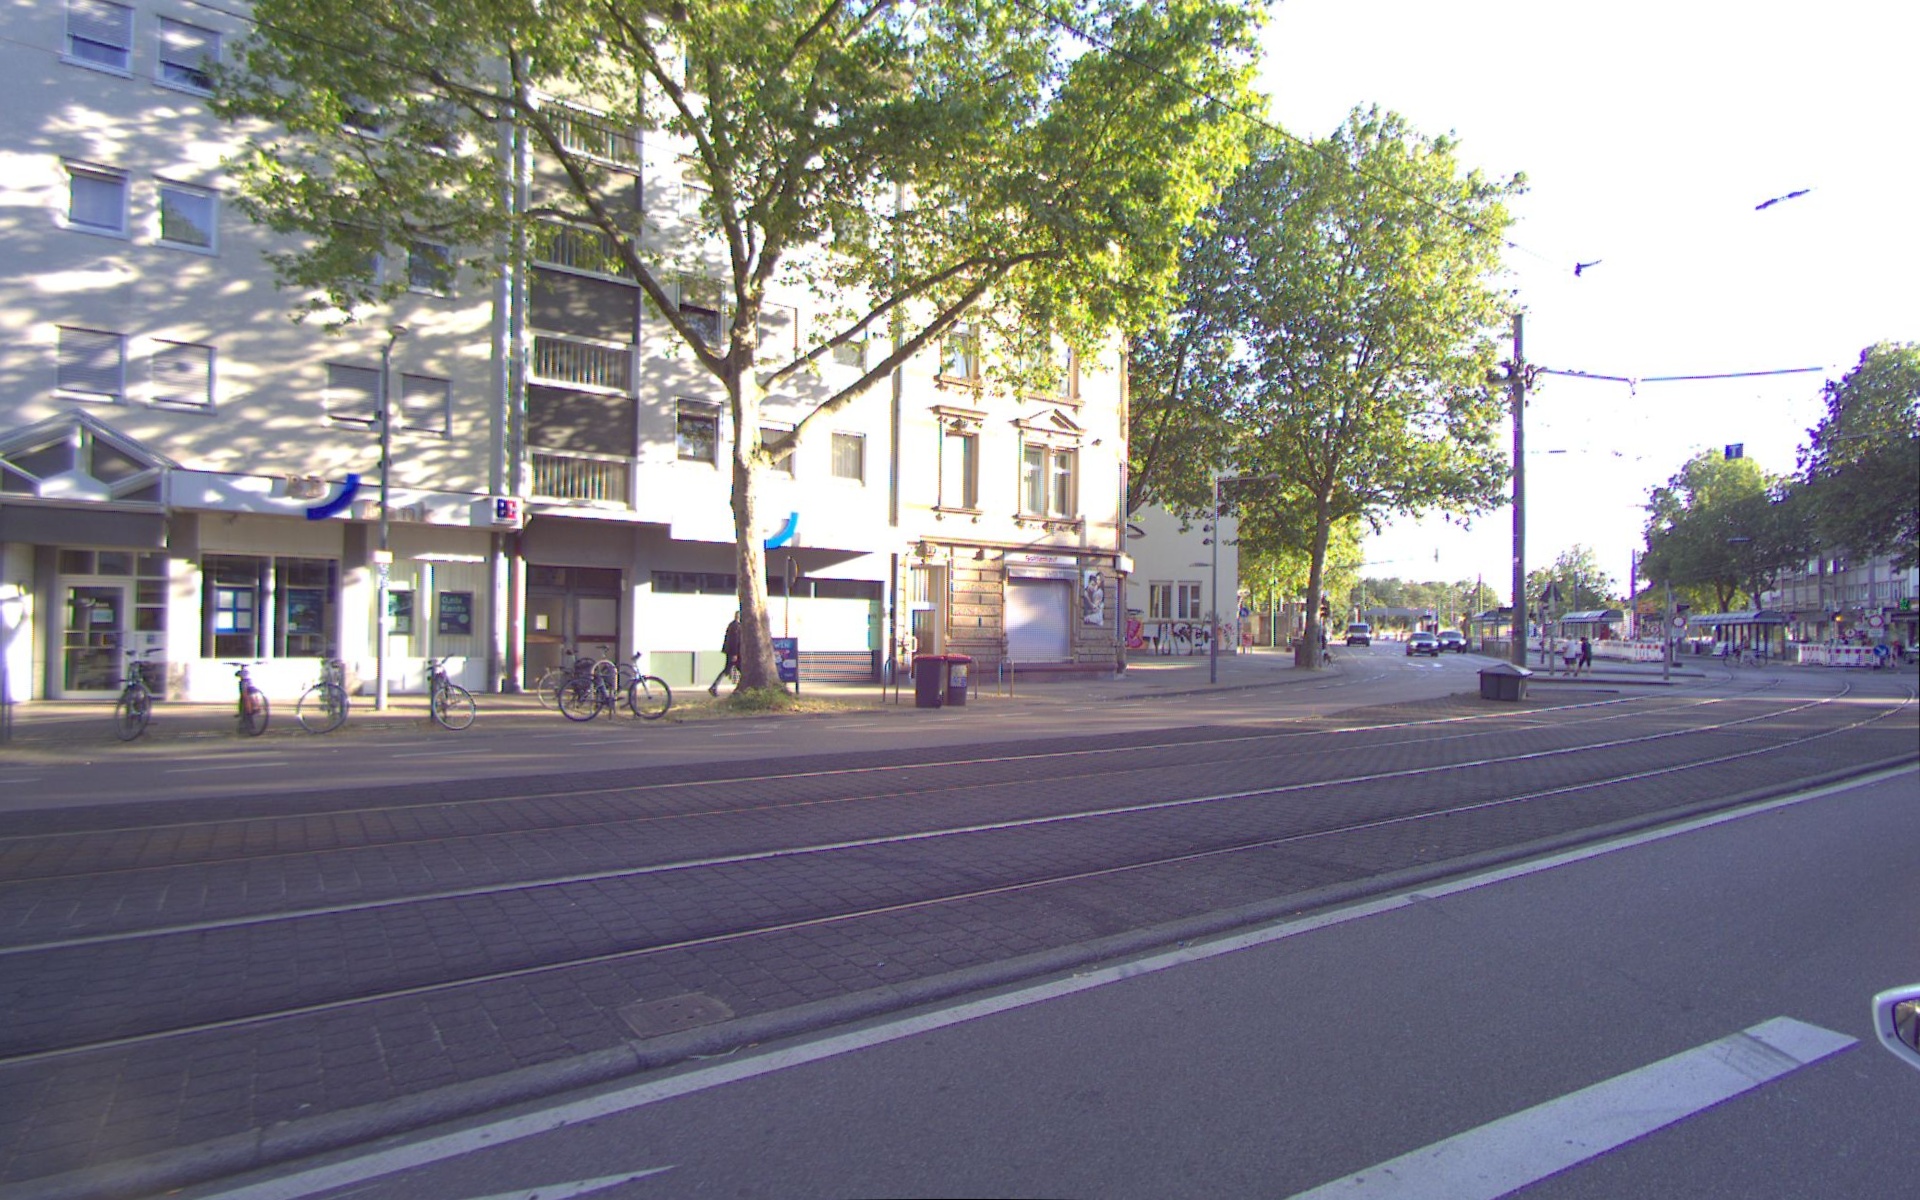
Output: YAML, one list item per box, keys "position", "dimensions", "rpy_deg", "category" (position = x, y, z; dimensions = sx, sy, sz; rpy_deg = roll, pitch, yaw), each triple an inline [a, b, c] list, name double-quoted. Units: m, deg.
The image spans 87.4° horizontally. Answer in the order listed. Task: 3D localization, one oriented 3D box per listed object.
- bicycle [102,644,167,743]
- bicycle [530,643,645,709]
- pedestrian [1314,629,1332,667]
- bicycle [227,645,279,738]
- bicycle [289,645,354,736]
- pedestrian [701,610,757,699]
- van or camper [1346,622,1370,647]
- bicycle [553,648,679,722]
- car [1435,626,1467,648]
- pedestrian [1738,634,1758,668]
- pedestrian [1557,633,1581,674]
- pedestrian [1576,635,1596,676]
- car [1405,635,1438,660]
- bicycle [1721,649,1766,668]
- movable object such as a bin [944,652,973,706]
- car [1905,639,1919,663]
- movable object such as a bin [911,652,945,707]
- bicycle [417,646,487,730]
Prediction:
- position: [-10.819, 1.183, 13.198]
  dimensions: [0.529, 1.139, 1.880]
  rpy_deg: [2, -1, -36]
  category: "bicycle"
- position: [-6.779, 1.372, 18.334]
  dimensions: [1.891, 1.139, 0.505]
  rpy_deg: [2, -1, -34]
  category: "bicycle"
- position: [17.228, 2.266, 47.672]
  dimensions: [0.663, 1.733, 0.431]
  rpy_deg: [2, 0, 2]
  category: "pedestrian"
- position: [-9.823, 1.224, 13.941]
  dimensions: [0.529, 1.139, 1.880]
  rpy_deg: [2, -1, -36]
  category: "bicycle"
- position: [-9.182, 1.254, 14.410]
  dimensions: [0.646, 1.139, 1.880]
  rpy_deg: [2, -1, -36]
  category: "bicycle"
- position: [-4.901, 1.147, 21.297]
  dimensions: [0.959, 1.811, 0.615]
  rpy_deg: [2, 0, -30]
  category: "pedestrian"
- position: [39.178, 3.378, 98.857]
  dimensions: [2.132, 2.349, 5.103]
  rpy_deg: [-2, -2, 22]
  category: "van or camper"
- position: [-5.641, 1.375, 16.532]
  dimensions: [1.891, 1.139, 0.505]
  rpy_deg: [2, -1, -34]
  category: "bicycle"
- position: [37.264, 2.814, 76.267]
  dimensions: [1.855, 1.606, 4.206]
  rpy_deg: [0, -2, 22]
  category: "car"
- position: [41.323, 2.669, 52.675]
  dimensions: [0.708, 1.748, 0.399]
  rpy_deg: [0, -1, 17]
  category: "pedestrian"
- position: [22.900, 2.008, 37.785]
  dimensions: [0.583, 1.524, 0.520]
  rpy_deg: [1, -1, -13]
  category: "pedestrian"
- position: [23.531, 2.087, 37.766]
  dimensions: [0.508, 1.524, 0.408]
  rpy_deg: [1, -1, -14]
  category: "pedestrian"
- position: [30.072, 3.065, 65.496]
  dimensions: [1.856, 1.492, 4.205]
  rpy_deg: [0, -2, 24]
  category: "car"
- position: [41.449, 3.095, 53.142]
  dimensions: [1.809, 0.955, 0.464]
  rpy_deg: [0, -1, 16]
  category: "bicycle"
- position: [-0.032, 1.655, 21.118]
  dimensions: [0.562, 1.108, 0.477]
  rpy_deg: [0, -1, 5]
  category: "movable object such as a bin"
- position: [61.936, 3.231, 63.795]
  dimensions: [1.636, 1.488, 3.411]
  rpy_deg: [-3, -3, 22]
  category: "car"
- position: [-0.643, 1.615, 20.506]
  dimensions: [0.634, 1.108, 0.546]
  rpy_deg: [0, -1, 5]
  category: "movable object such as a bin"
- position: [-7.818, 1.306, 15.423]
  dimensions: [0.646, 1.139, 1.880]
  rpy_deg: [2, -1, -36]
  category: "bicycle"
